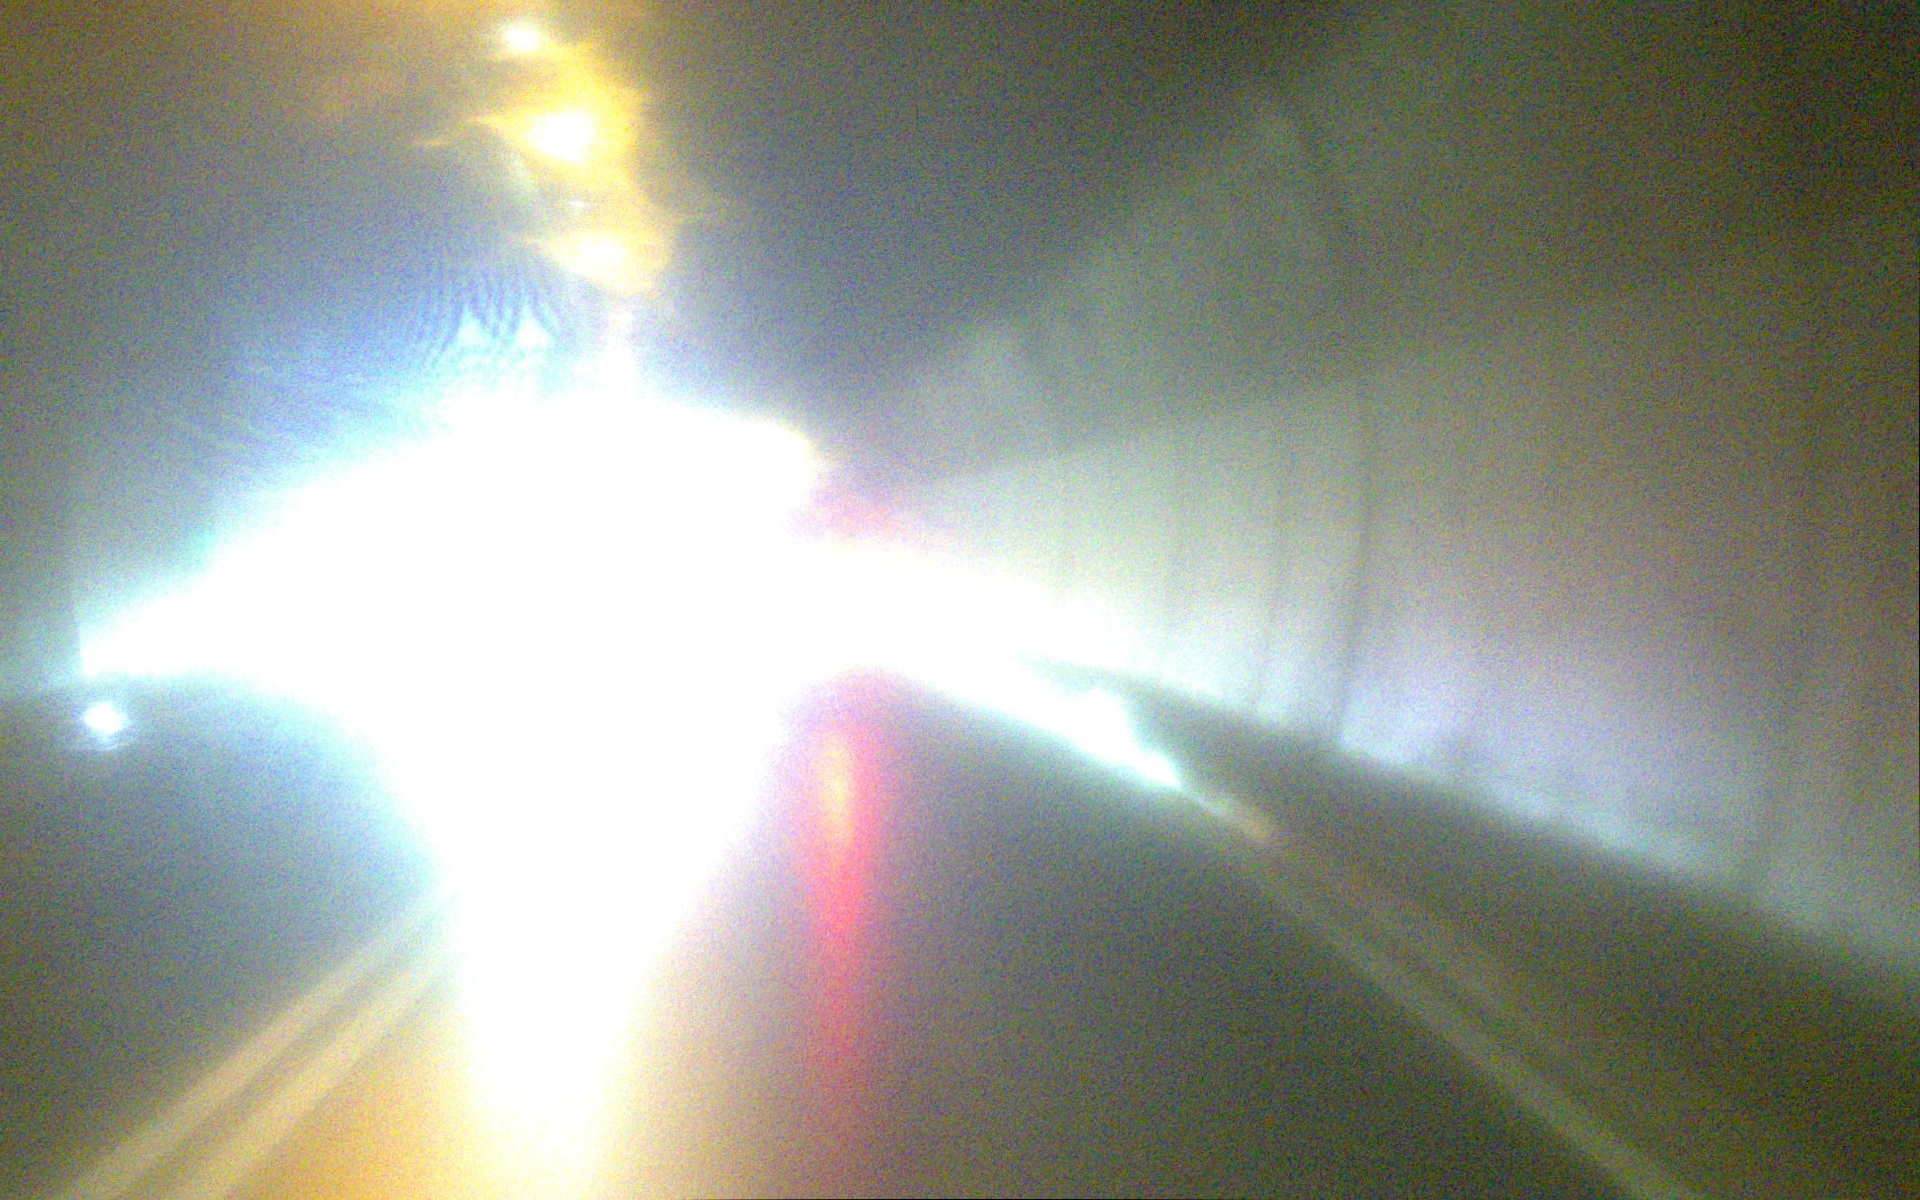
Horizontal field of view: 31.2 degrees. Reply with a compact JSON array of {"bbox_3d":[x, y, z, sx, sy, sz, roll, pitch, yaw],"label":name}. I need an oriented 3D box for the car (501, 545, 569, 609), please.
[{"bbox_3d":[-10.680,-0.597,86.451,1.620,1.512,4.138,1,1,-7],"label":"car"}]

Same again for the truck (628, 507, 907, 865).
[{"bbox_3d":[-1.912,0.705,33.693,2.262,3.000,7.416,3,1,-4],"label":"truck"}]
